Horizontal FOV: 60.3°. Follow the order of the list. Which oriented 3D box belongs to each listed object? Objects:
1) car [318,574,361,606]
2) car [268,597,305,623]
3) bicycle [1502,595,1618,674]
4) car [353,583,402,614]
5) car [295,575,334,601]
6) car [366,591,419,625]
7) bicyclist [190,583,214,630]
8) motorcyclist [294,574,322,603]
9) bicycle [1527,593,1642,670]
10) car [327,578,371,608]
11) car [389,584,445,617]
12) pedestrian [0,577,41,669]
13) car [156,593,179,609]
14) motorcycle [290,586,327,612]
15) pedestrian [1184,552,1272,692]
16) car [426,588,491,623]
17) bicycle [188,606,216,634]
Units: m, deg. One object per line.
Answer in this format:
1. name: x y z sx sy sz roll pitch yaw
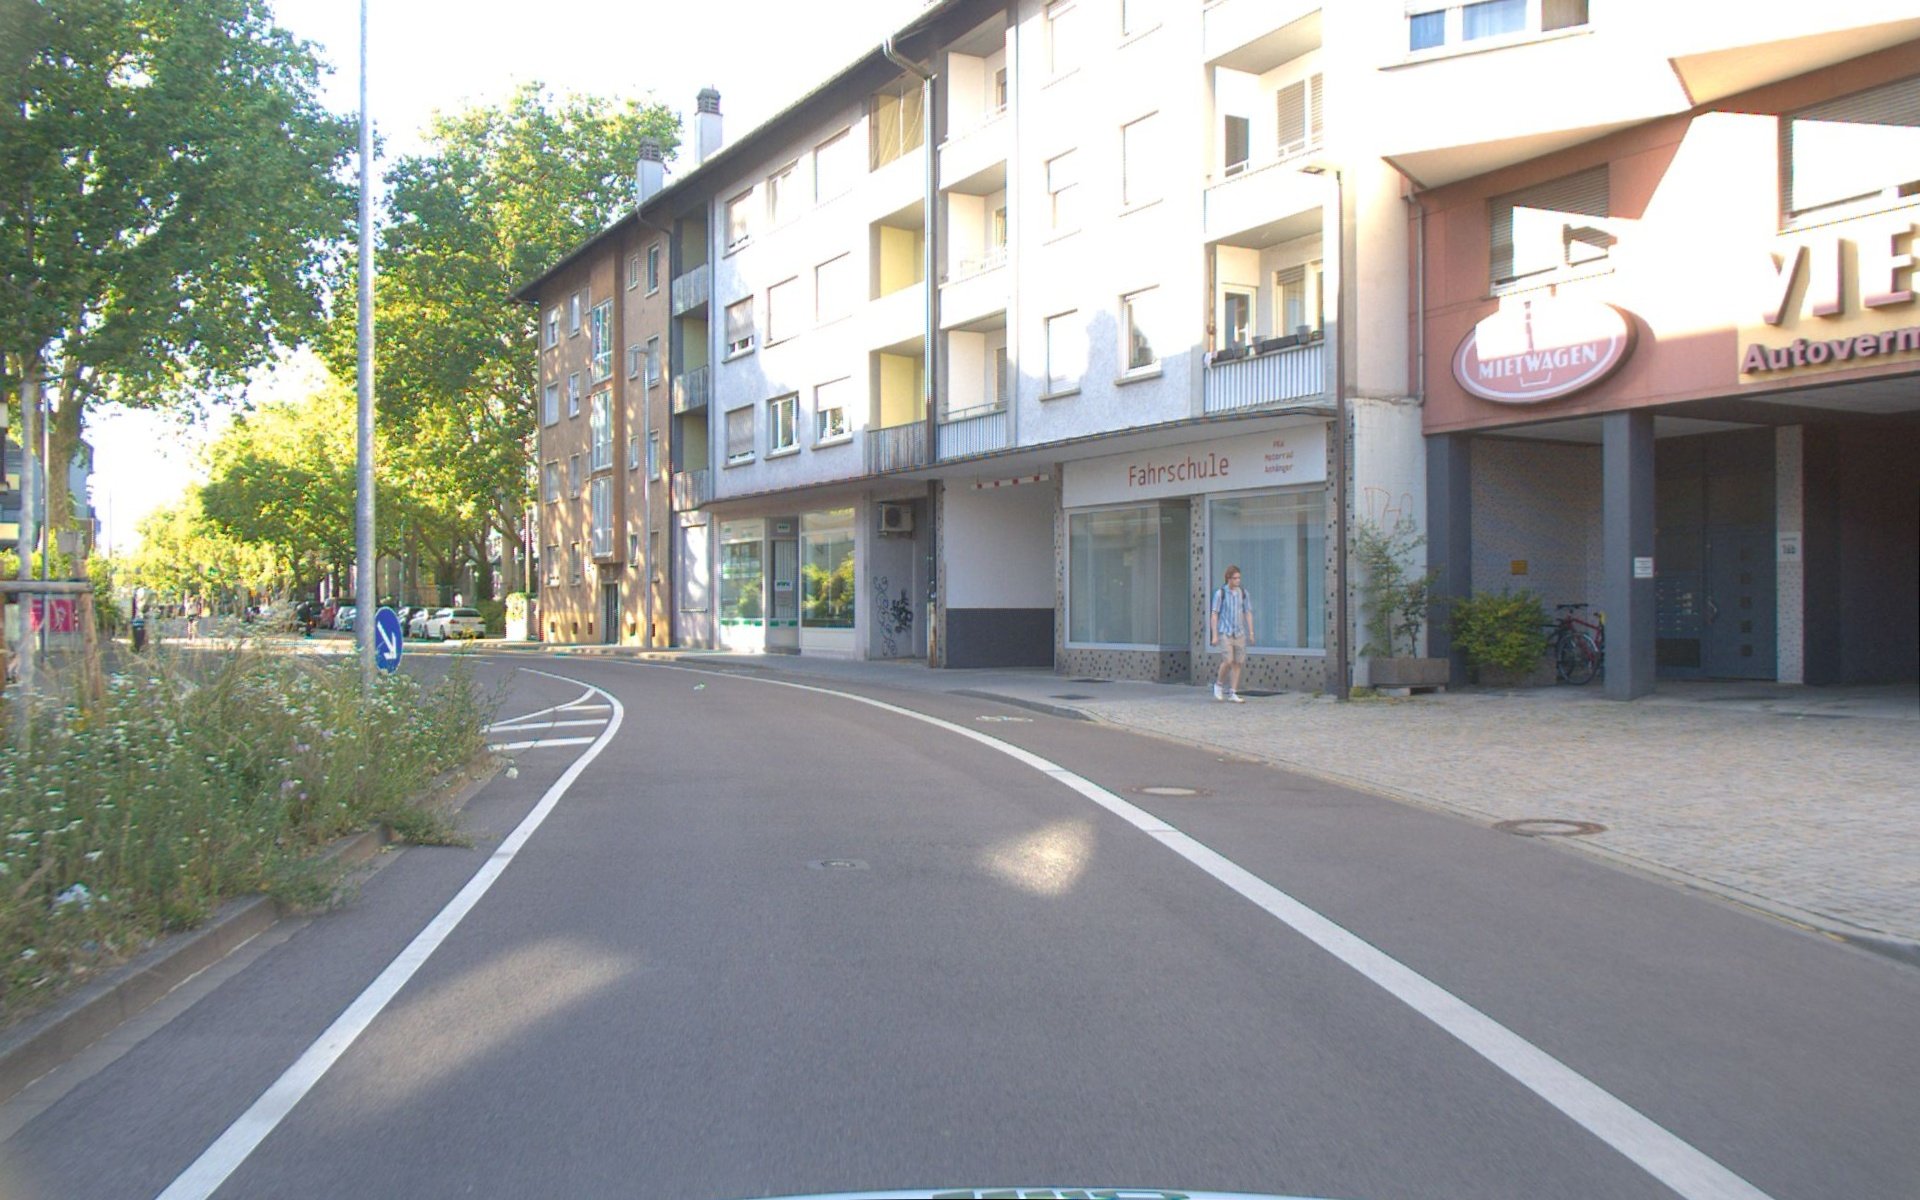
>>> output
1. car: -39.768 -0.663 105.931 2.011 1.968 4.054 -1 1 -29
2. car: -37.897 0.536 93.023 1.897 1.413 3.971 0 0 -23
3. bicycle: 8.389 0.468 23.190 0.489 1.056 1.623 0 1 -28
4. car: -33.345 -0.086 94.562 2.011 1.749 4.054 0 0 -29
5. car: -45.195 -0.835 115.747 2.011 1.772 4.054 -1 1 -29
6. car: -30.596 0.398 89.129 2.011 1.790 4.054 0 0 -29
7. bicyclist: -32.613 0.266 71.164 0.808 1.982 0.848 0 0 -33
8. motorcyclist: -30.973 -0.538 78.522 0.963 1.370 1.123 1 0 -37
9. bicycle: 8.979 0.441 23.826 0.489 1.056 1.623 0 1 -28
10. car: -37.725 -0.452 102.055 2.011 1.749 4.054 -1 1 -29
11. car: -27.623 0.003 84.099 2.011 1.645 4.054 0 0 -29
12. pedestrian: -18.369 0.439 32.200 0.797 1.754 0.767 1 -1 -32
13. car: -85.316 0.102 178.022 2.011 1.772 4.054 0 0 -29
14. motorcycle: -30.897 -0.064 78.421 0.966 1.151 2.769 1 0 -36
15. pedestrian: 3.736 0.297 23.101 0.723 1.886 0.939 -2 0 -29
16. car: -22.462 0.229 74.004 2.011 1.531 4.054 0 0 -29
17. bicycle: -32.630 0.850 71.192 0.808 1.159 2.312 0 0 -33
